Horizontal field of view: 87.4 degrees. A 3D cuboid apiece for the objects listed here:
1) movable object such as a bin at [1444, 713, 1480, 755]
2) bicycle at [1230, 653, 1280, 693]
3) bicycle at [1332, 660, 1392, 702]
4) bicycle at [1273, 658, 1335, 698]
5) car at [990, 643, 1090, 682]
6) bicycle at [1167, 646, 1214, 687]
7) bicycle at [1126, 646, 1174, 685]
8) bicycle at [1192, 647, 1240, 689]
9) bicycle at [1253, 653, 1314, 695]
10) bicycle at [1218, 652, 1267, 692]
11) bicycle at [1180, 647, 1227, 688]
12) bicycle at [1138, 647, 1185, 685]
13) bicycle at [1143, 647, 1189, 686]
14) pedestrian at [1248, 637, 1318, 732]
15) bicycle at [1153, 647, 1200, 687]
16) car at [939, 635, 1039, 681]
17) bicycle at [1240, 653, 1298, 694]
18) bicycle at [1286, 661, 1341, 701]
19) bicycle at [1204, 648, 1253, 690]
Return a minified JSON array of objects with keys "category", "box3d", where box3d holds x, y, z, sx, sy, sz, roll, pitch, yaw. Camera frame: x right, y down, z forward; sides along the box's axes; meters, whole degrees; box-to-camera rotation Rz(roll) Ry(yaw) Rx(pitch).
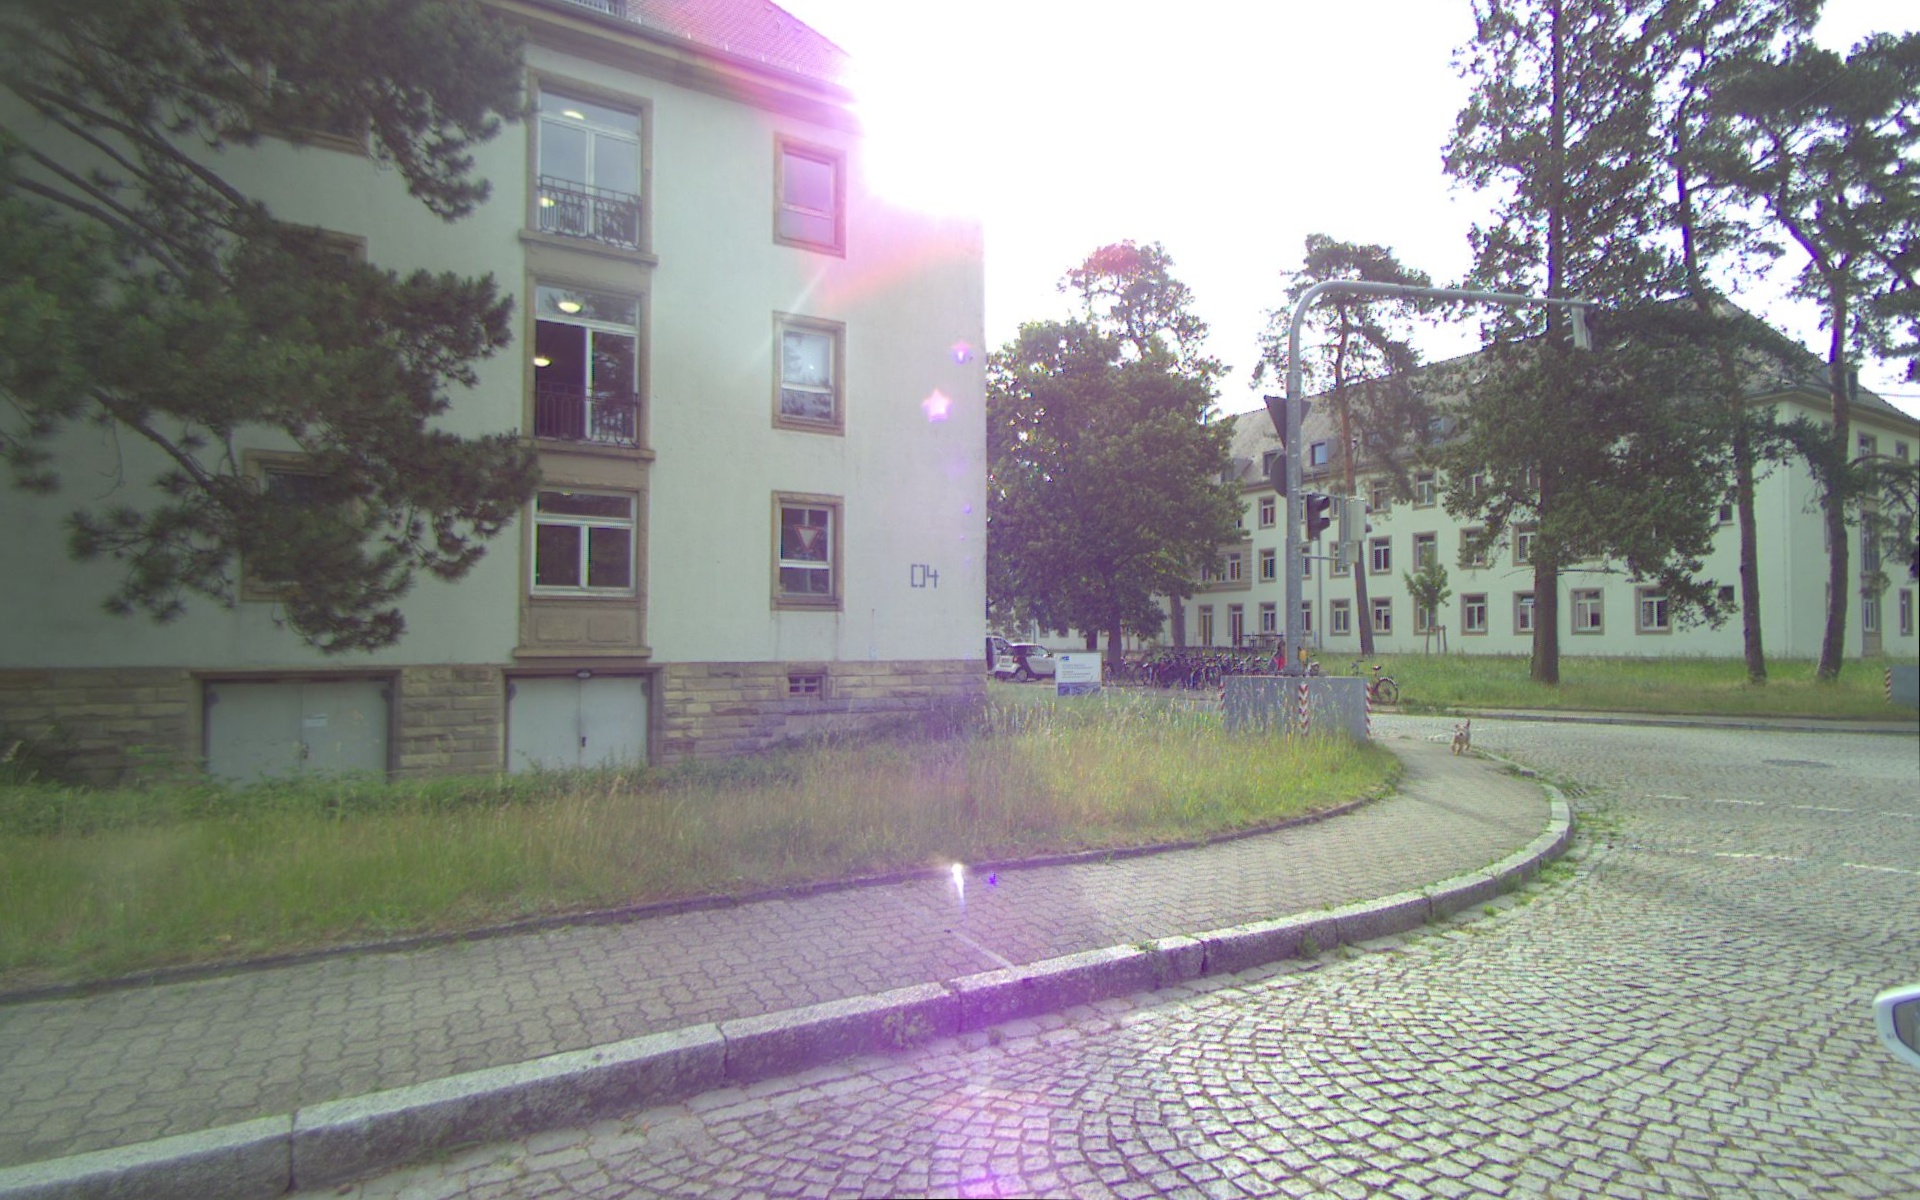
[{"category":"movable object such as a bin","box3d":[6.972,1.855,13.947,0.436,0.510,0.751,-1,-3,27]},{"category":"bicycle","box3d":[8.954,2.195,30.463,1.677,1.193,0.447,2,-3,-32]},{"category":"bicycle","box3d":[10.222,2.037,25.574,0.447,1.009,1.453,1,-3,-28]},{"category":"bicycle","box3d":[9.928,2.227,28.962,1.974,1.092,0.572,2,-3,-32]},{"category":"car","box3d":[3.361,2.593,42.048,3.851,1.576,1.831,2,-3,-30]},{"category":"bicycle","box3d":[7.560,2.165,32.866,1.677,1.300,0.447,2,-3,-32]},{"category":"bicycle","box3d":[6.552,2.249,34.687,1.807,1.300,0.447,2,-3,-32]},{"category":"bicycle","box3d":[8.150,2.153,31.965,1.677,1.300,0.447,2,-3,-32]},{"category":"bicycle","box3d":[9.520,2.168,29.527,1.932,1.193,0.572,2,-3,-32]},{"category":"bicycle","box3d":[8.696,2.188,30.874,1.677,1.193,0.447,2,-3,-32]},{"category":"bicycle","box3d":[7.859,2.159,32.390,1.677,1.300,0.447,2,-3,-32]},{"category":"bicycle","box3d":[6.893,2.247,34.353,1.765,1.300,0.440,2,-3,-32]},{"category":"bicycle","box3d":[6.958,2.233,33.844,1.677,1.300,0.447,2,-3,-32]},{"category":"pedestrian","box3d":[5.900,1.527,18.377,0.923,1.690,0.861,0,-2,-10]},{"category":"bicycle","box3d":[7.209,2.227,33.428,1.677,1.300,0.447,2,-3,-32]},{"category":"car","box3d":[1.281,2.520,44.125,4.087,1.932,1.831,1,-3,-30]},{"category":"bicycle","box3d":[9.255,2.177,30.048,1.909,1.193,0.525,2,-3,-32]},{"category":"bicycle","box3d":[9.448,2.162,26.884,0.447,1.009,1.453,1,-3,-28]},{"category":"bicycle","box3d":[8.434,2.148,31.549,1.677,1.300,0.447,2,-3,-32]}]
